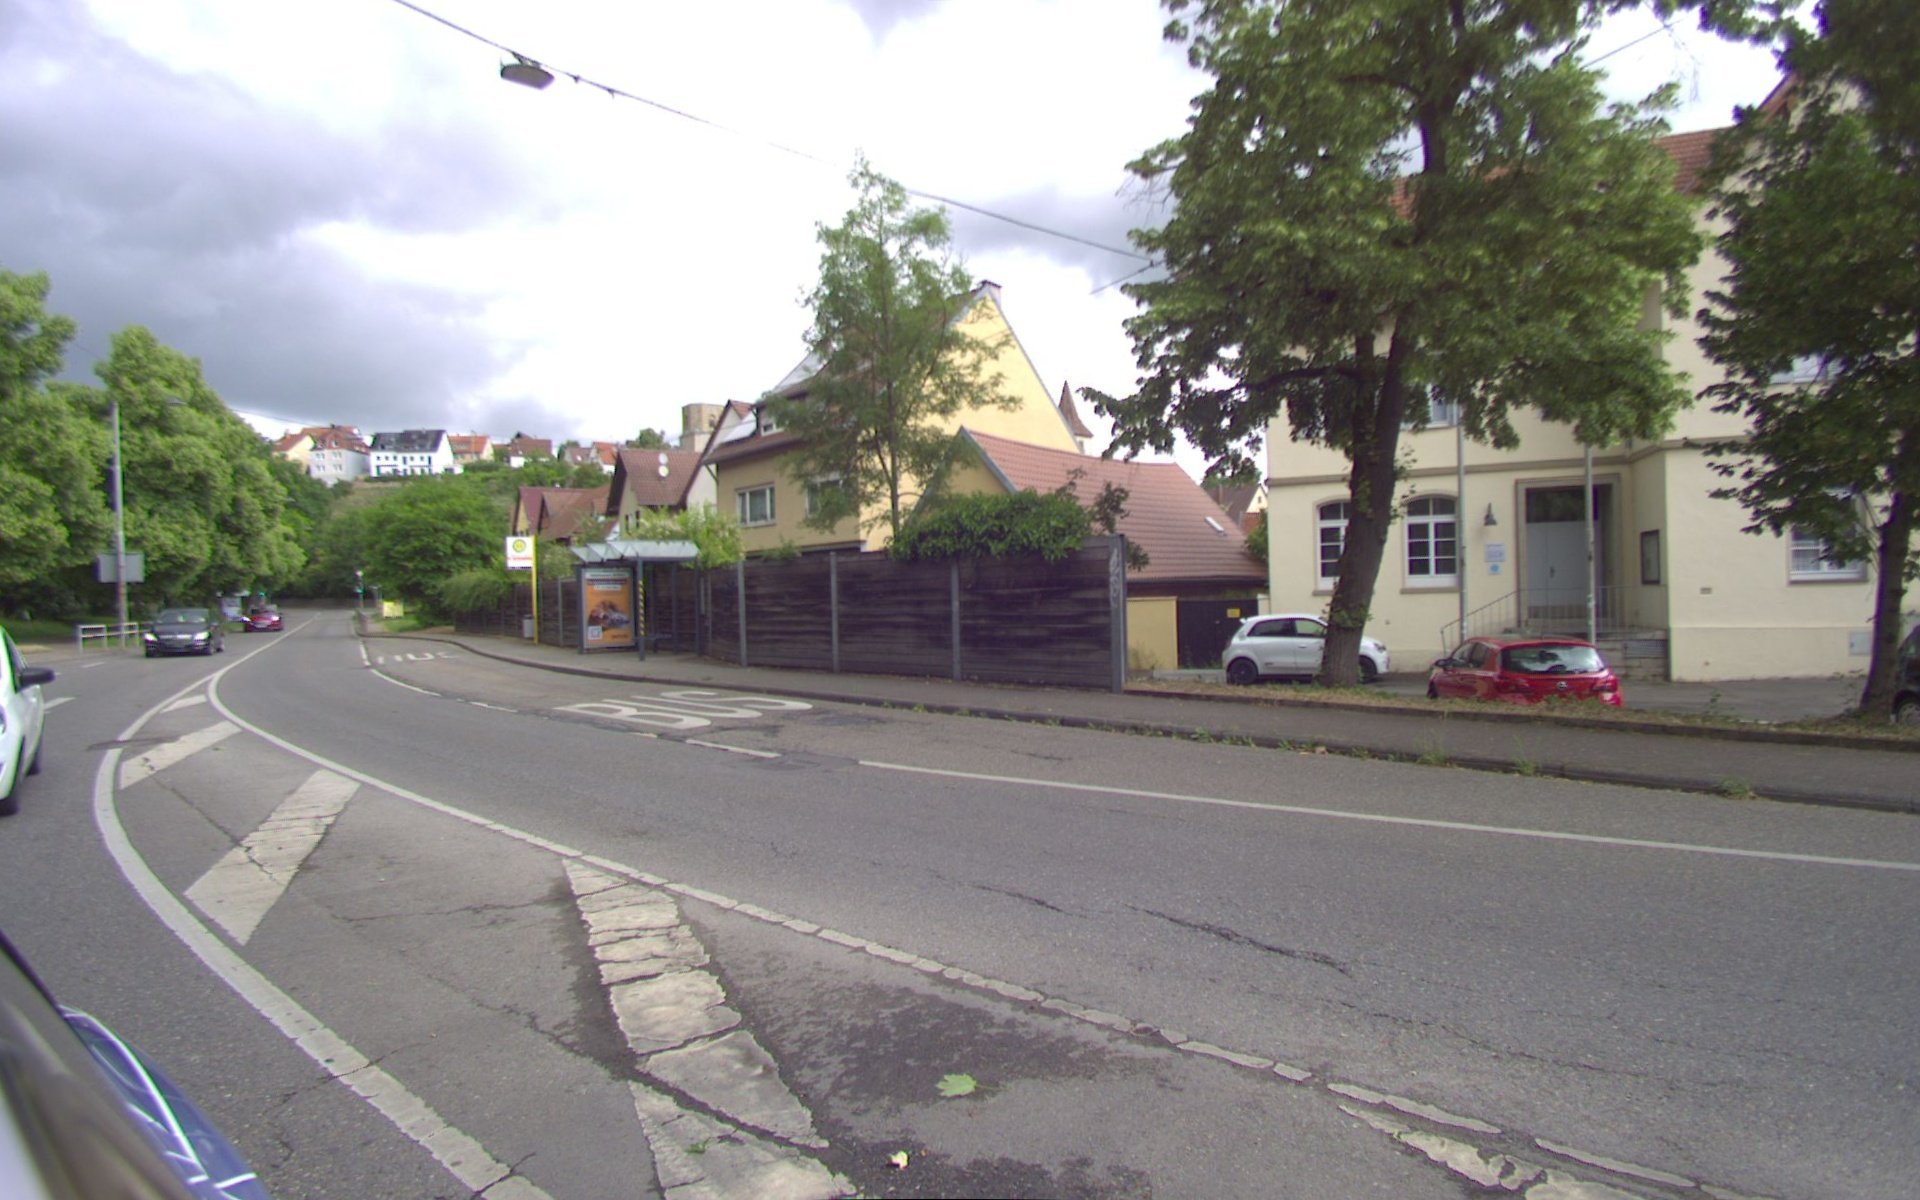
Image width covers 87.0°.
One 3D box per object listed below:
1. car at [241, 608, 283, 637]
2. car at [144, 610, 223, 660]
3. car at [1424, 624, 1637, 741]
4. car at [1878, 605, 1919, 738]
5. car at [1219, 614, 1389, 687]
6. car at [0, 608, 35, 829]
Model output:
[{"bbox_3d":[-42.598,1.330,61.809,1.798,1.685,4.070,-1,0,-31],"label":"car"},{"bbox_3d":[-25.934,1.120,33.909,1.696,1.559,3.793,-1,0,-32],"label":"car"},{"bbox_3d":[8.127,1.103,14.771,1.590,1.389,3.544,-1,0,10],"label":"car"},{"bbox_3d":[12.701,0.887,11.588,1.586,1.644,3.093,-1,0,2],"label":"car"},{"bbox_3d":[7.748,1.107,22.927,3.487,1.528,1.581,-1,0,20],"label":"car"},{"bbox_3d":[-8.368,0.852,7.880,1.594,1.525,3.610,-1,0,-41],"label":"car"}]
